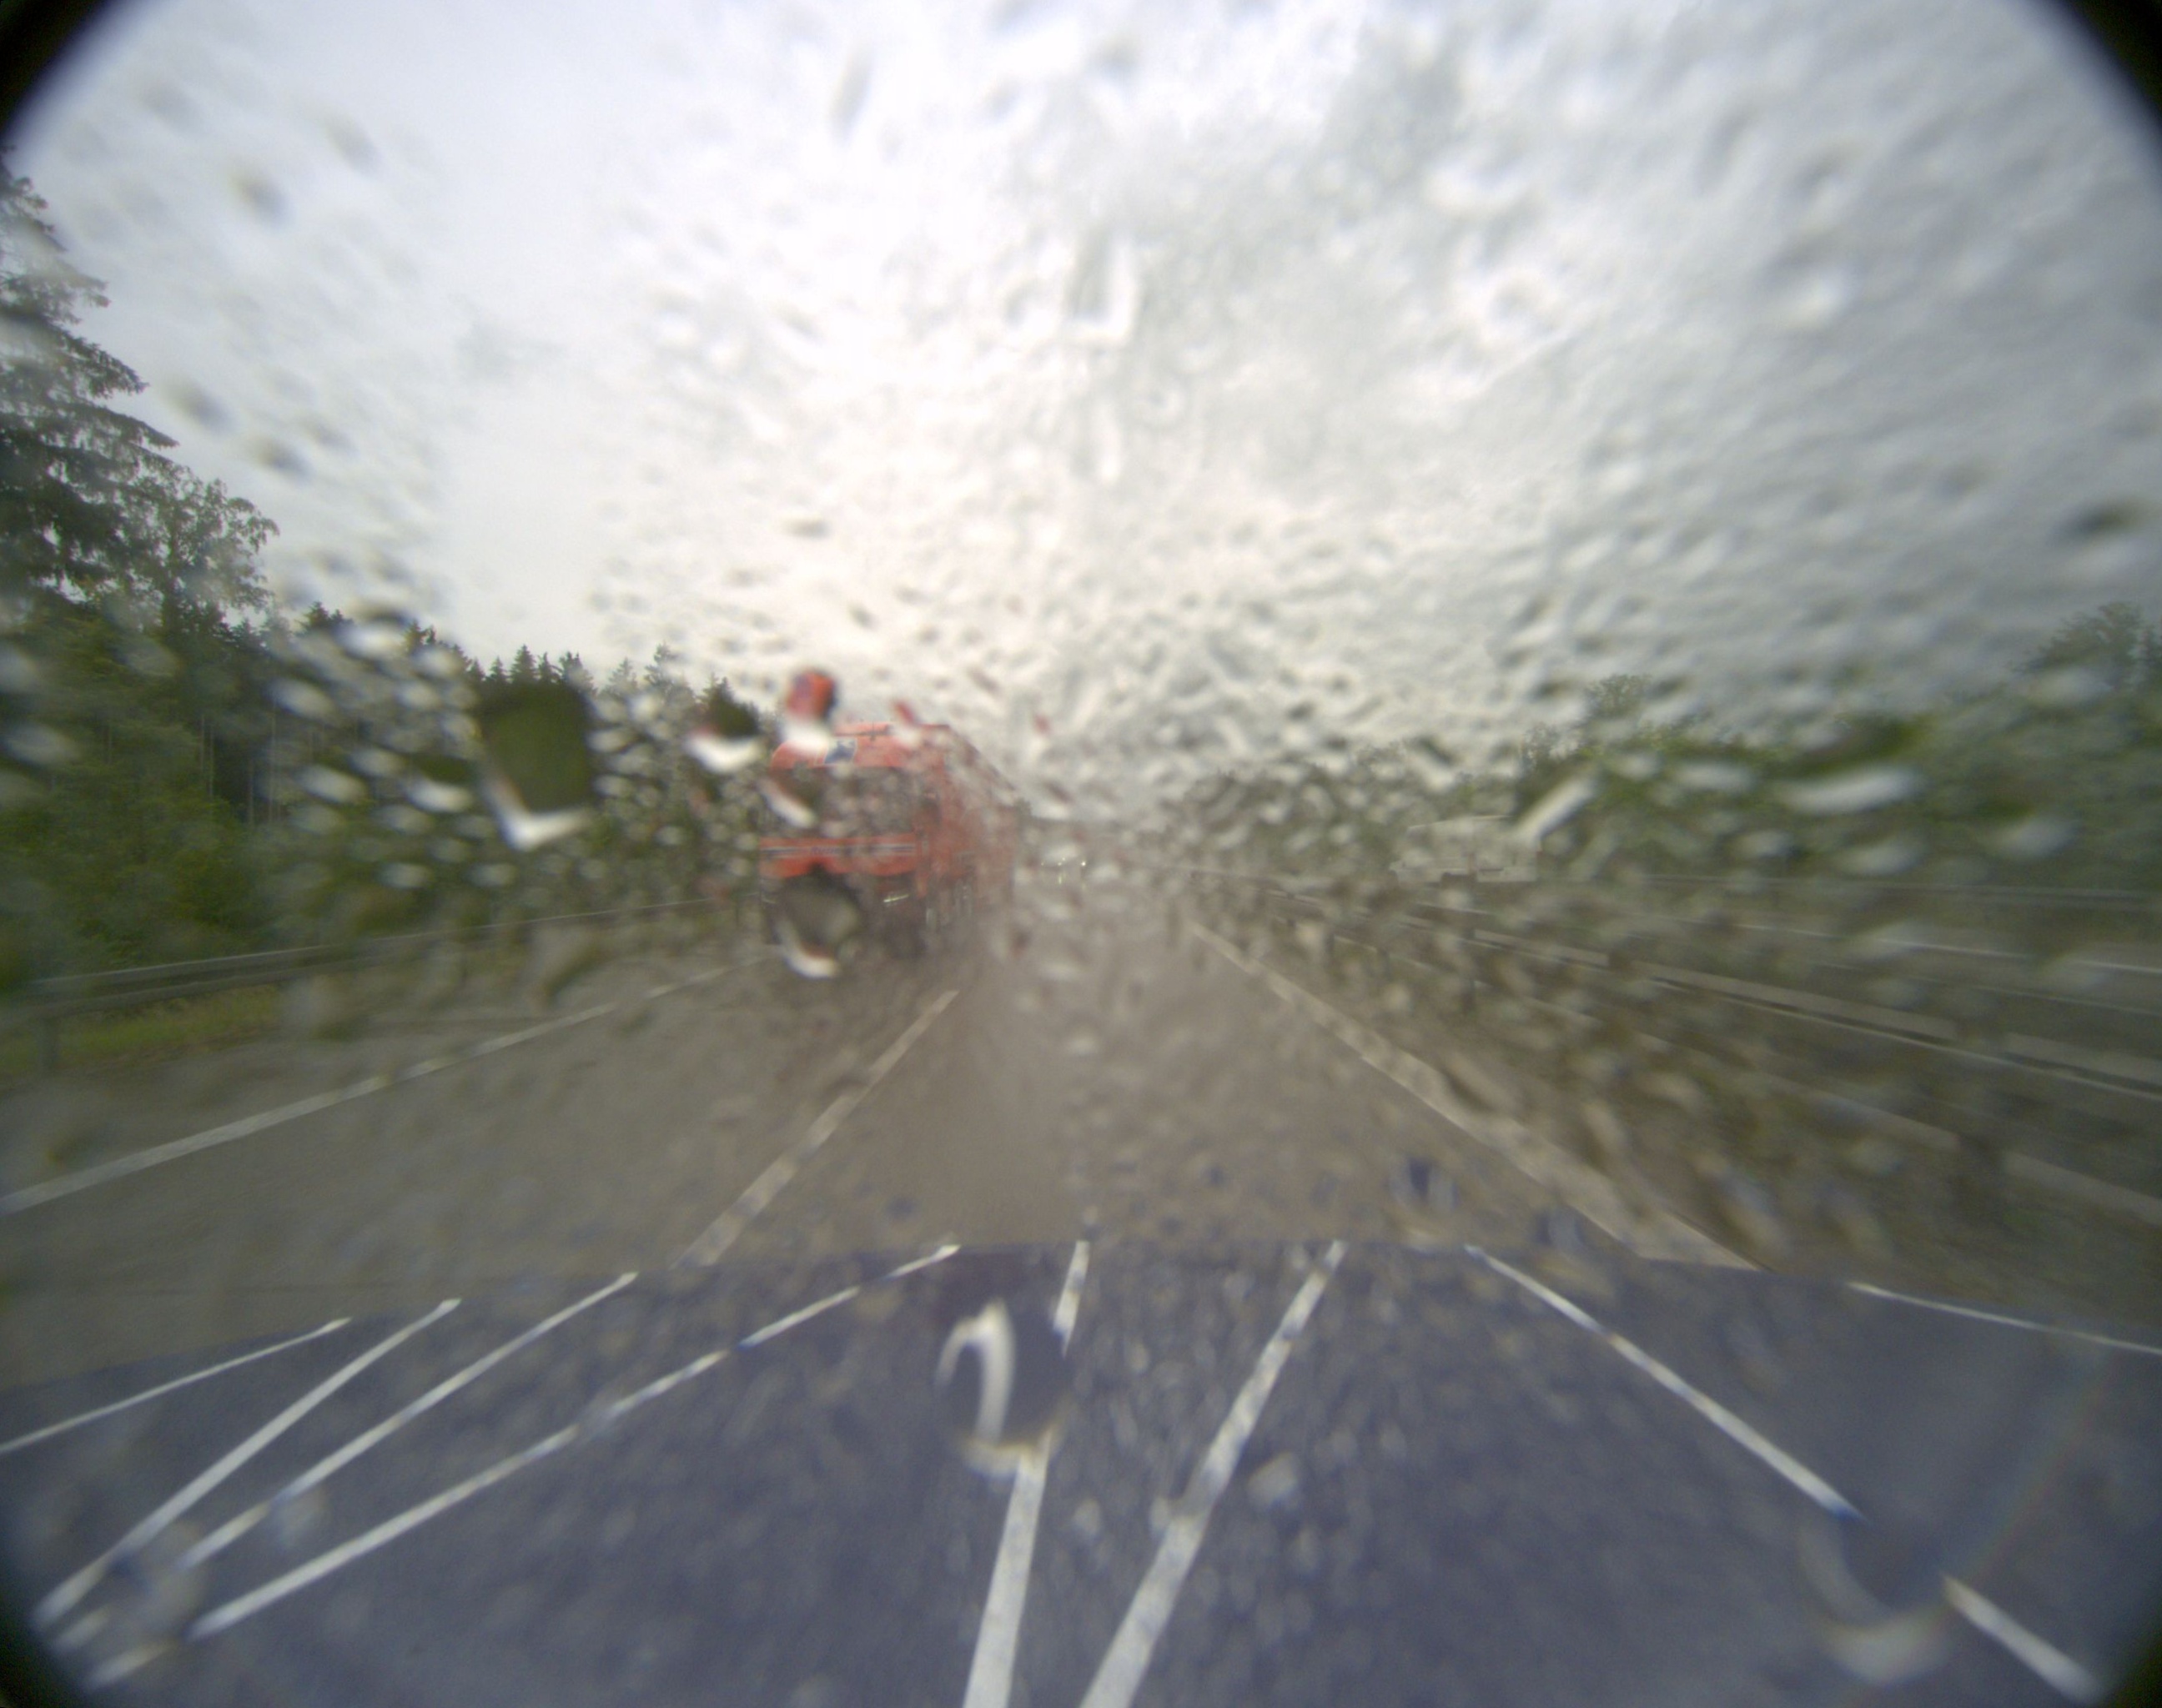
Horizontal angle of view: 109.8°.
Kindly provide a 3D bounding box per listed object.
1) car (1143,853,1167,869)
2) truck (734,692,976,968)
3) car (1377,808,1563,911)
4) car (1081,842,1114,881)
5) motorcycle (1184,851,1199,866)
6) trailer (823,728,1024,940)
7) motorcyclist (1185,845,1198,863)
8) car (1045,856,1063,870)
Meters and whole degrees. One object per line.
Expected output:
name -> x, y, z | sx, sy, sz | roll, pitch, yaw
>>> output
car -> 6.967, 0.659, 71.852 | 1.772, 1.410, 4.606 | 0, 0, 0
truck -> -3.743, -0.367, 14.025 | 2.766, 4.064, 5.437 | 1, 0, 0
car -> 11.810, 0.130, 23.878 | 2.357, 2.733, 6.875 | -1, 0, 0
car -> 0.963, 0.392, 44.298 | 1.795, 2.113, 4.524 | 1, 0, 1
motorcycle -> 10.734, 0.449, 73.933 | 1.075, 1.381, 2.413 | -1, 0, 0
trailer -> -3.607, -0.407, 21.478 | 2.801, 4.132, 13.004 | 1, 0, 1
motorcyclist -> 10.724, -0.021, 73.891 | 1.070, 1.746, 1.444 | -1, 1, 0
car -> -2.495, 0.810, 70.956 | 1.496, 1.189, 3.668 | 1, 0, 1
